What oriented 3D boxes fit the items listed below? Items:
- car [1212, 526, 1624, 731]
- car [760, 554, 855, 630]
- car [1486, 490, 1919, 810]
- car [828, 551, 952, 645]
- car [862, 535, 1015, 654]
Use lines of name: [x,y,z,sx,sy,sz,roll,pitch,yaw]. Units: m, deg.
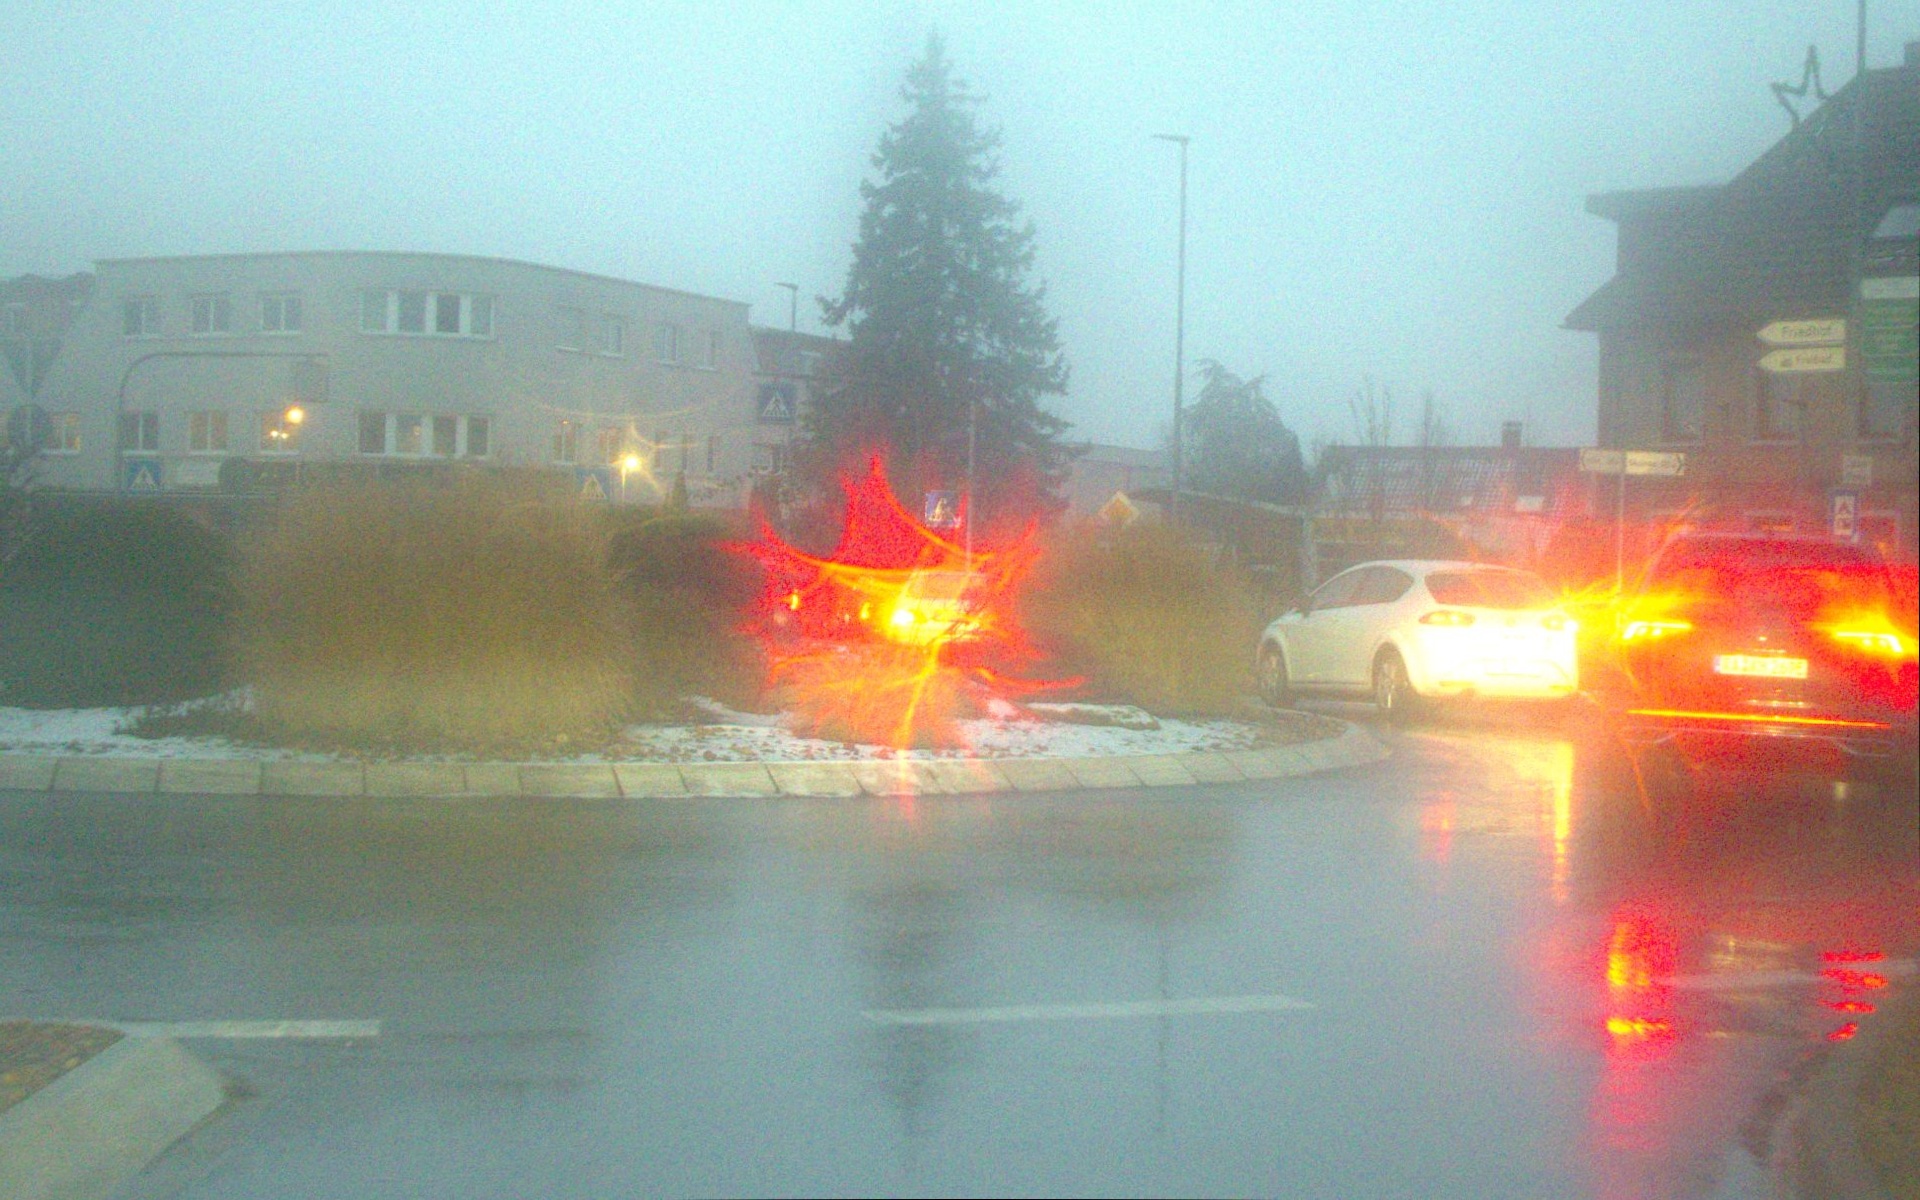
car: [4.162,0.205,32.096,2.163,1.683,4.573,1,2,-15]
car: [-3.234,-0.168,72.272,1.772,1.539,4.001,1,0,-6]
car: [4.438,0.250,21.141,1.944,1.712,4.000,2,1,3]
car: [-1.251,-0.005,59.722,1.882,1.543,4.572,1,-1,-4]
car: [-0.361,-0.039,49.833,1.882,1.609,4.572,1,-1,-4]
